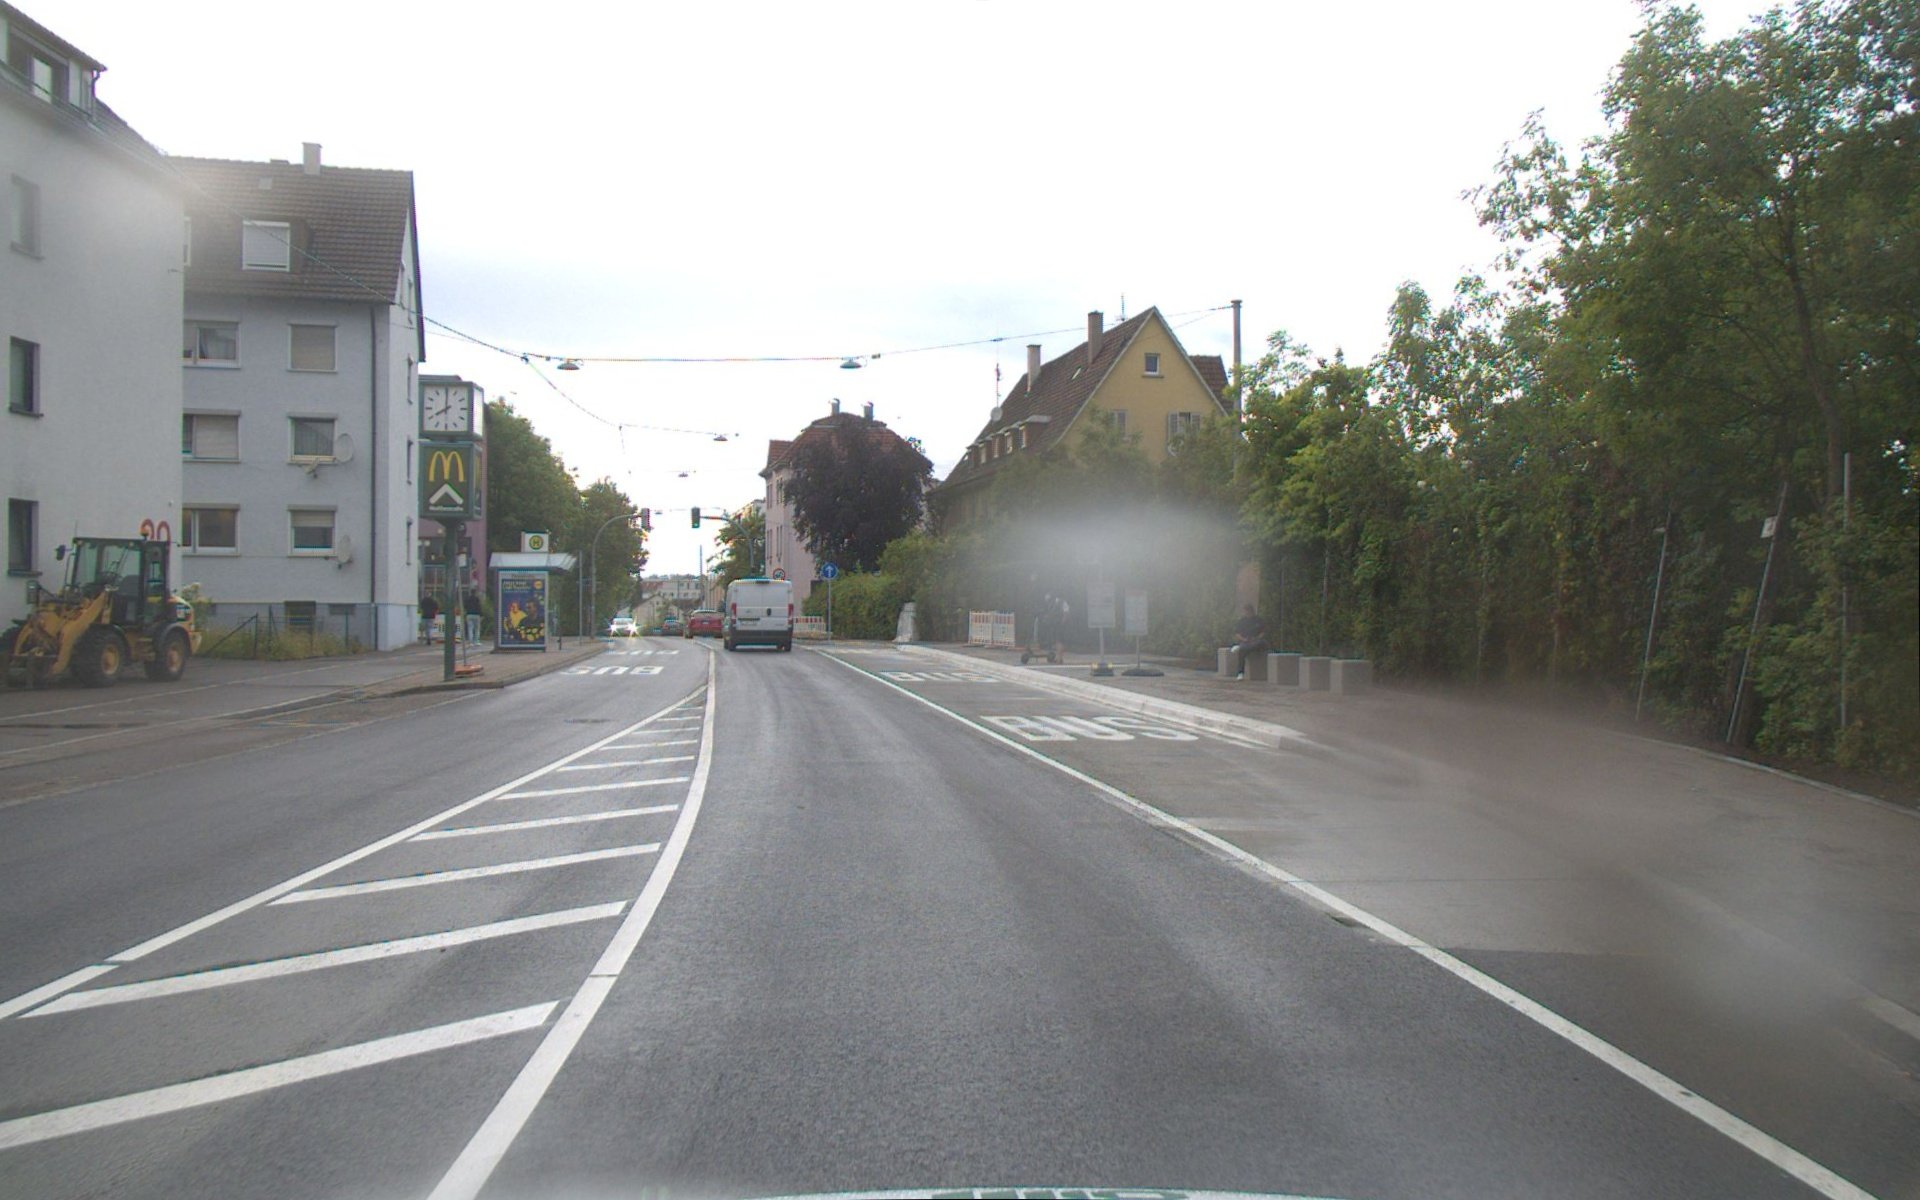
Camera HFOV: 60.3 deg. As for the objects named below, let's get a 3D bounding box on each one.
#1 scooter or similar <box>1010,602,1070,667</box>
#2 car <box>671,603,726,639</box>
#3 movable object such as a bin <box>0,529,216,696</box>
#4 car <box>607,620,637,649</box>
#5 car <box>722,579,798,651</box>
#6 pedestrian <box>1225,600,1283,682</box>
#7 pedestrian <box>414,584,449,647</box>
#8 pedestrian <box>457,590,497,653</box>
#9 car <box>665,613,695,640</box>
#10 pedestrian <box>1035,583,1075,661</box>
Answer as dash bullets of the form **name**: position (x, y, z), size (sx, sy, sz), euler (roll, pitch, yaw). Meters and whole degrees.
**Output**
- **scooter or similar**: position (1.867, 0.784, 38.404), size (1.544, 1.430, 0.489), euler (-2, 3, -45)
- **car**: position (-13.394, 1.103, 84.504), size (2.202, 1.686, 4.691), euler (1, -2, -17)
- **movable object such as a bin**: position (-15.430, 0.129, 29.653), size (1.952, 2.729, 4.630), euler (1, 2, 2)
- **car**: position (-24.041, 2.432, 117.686), size (1.957, 1.825, 3.991), euler (1, 2, -10)
- **car**: position (-6.615, 0.462, 54.262), size (2.197, 2.252, 4.701), euler (0, 0, -11)
- **pedestrian**: position (5.284, 0.721, 29.763), size (0.860, 1.391, 1.066), euler (1, 1, 2)
- **pedestrian**: position (-17.763, 0.516, 55.630), size (1.061, 2.048, 1.048), euler (1, 1, -16)
- **pedestrian**: position (-15.978, 0.705, 54.754), size (1.186, 2.048, 1.048), euler (1, 1, -14)
- **car**: position (-21.521, 2.032, 127.090), size (2.197, 1.835, 4.702), euler (1, 2, -11)
- **pedestrian**: position (2.213, 0.498, 38.467), size (0.887, 1.761, 0.654), euler (1, 1, 3)
